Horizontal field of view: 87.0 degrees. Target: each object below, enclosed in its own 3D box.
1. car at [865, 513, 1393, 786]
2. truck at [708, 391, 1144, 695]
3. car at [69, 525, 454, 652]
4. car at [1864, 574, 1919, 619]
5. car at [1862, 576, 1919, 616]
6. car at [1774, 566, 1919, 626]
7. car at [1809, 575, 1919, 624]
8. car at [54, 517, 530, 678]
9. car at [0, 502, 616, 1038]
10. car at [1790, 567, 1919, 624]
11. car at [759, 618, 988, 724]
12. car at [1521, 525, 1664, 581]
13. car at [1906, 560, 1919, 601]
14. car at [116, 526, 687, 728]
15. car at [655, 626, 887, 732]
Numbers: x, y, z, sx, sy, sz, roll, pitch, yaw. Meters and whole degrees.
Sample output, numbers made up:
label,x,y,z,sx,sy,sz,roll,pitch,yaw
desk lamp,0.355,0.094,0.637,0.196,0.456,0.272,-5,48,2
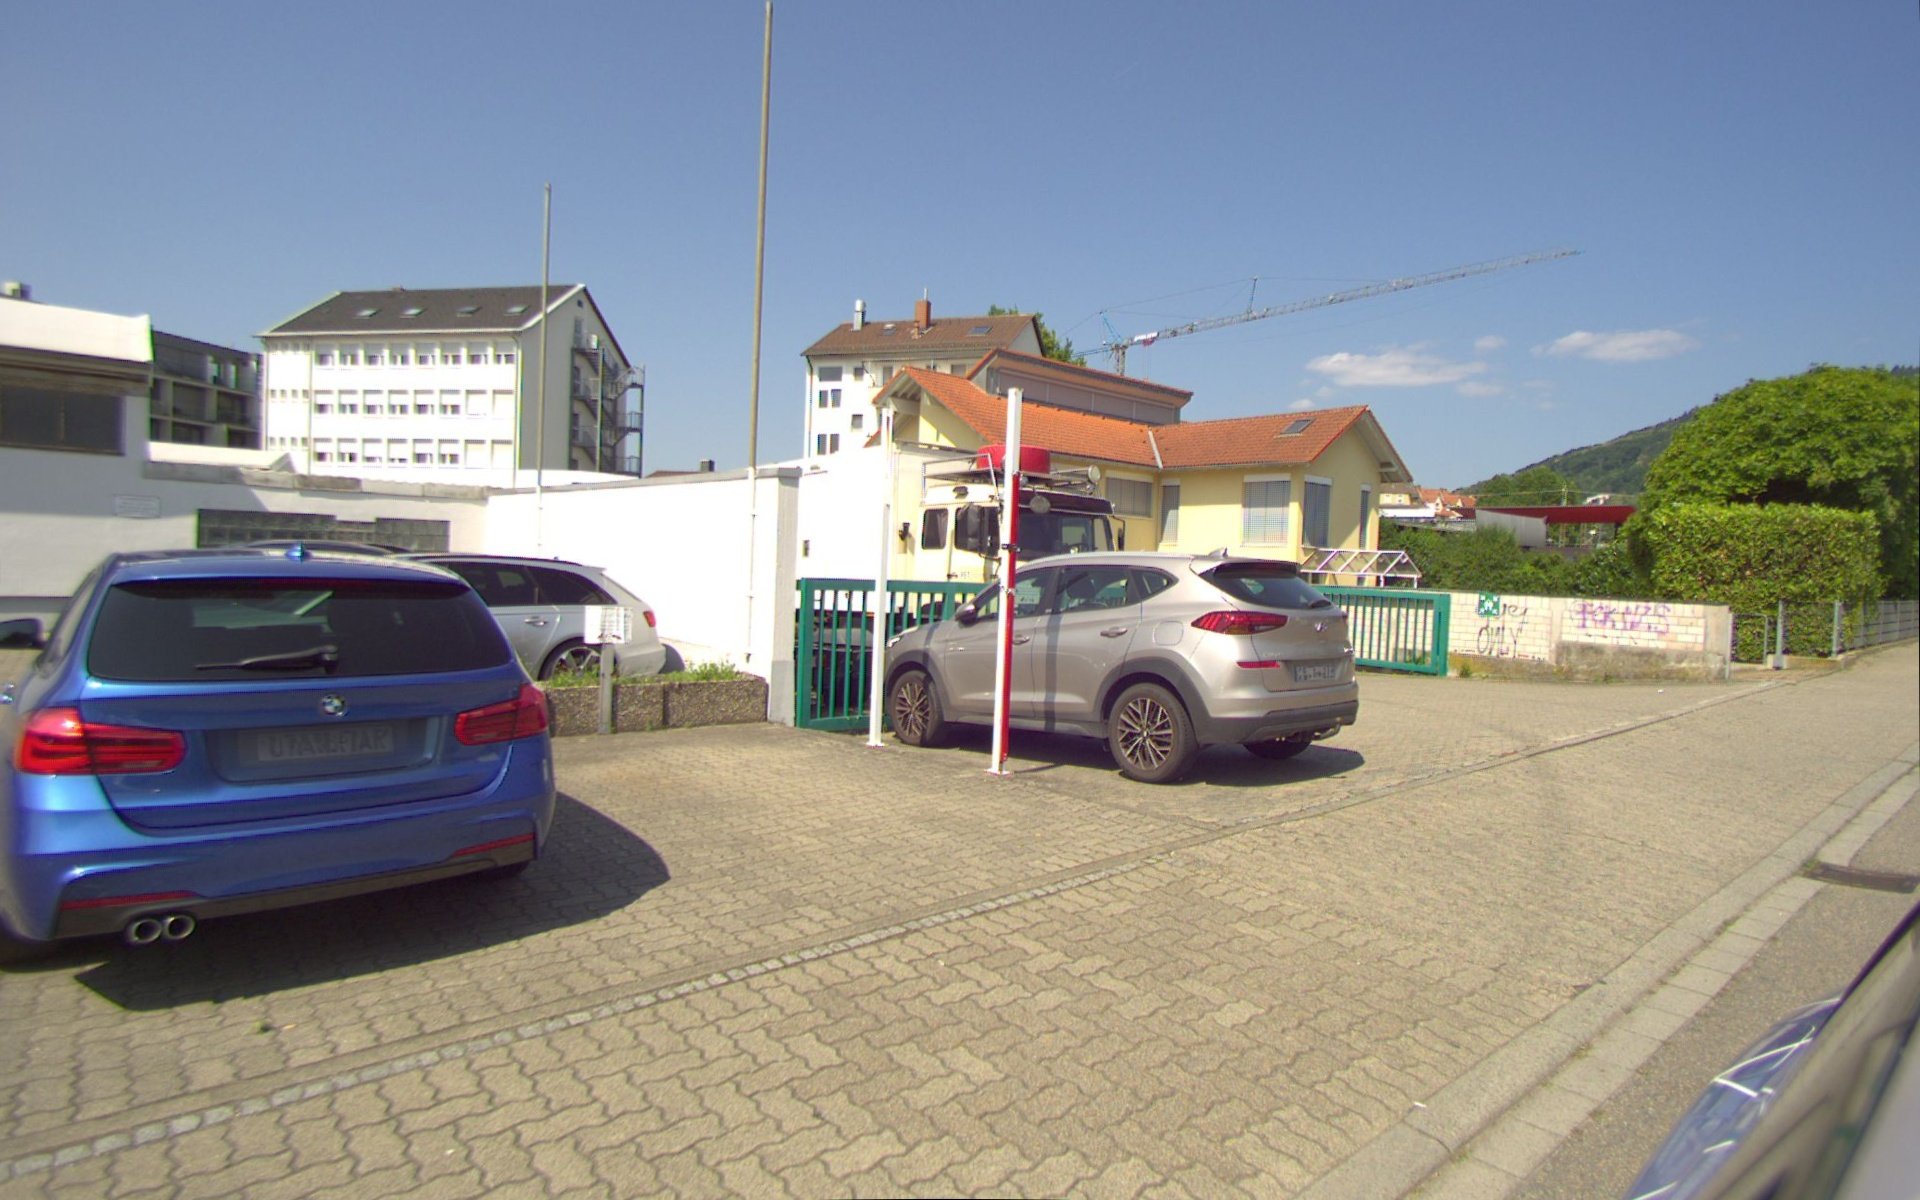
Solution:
label,x,y,z,sx,sy,sz,roll,pitch,yaw
car,1.140,0.342,8.488,1.736,1.703,4.207,-2,-1,-40
truck,-0.968,-0.638,15.268,2.482,3.466,7.533,-1,0,-39
car,-9.056,-0.211,13.413,3.952,1.409,1.893,-1,4,-37
car,35.974,-0.119,37.250,1.729,1.644,3.809,0,2,-41
car,33.905,-0.104,35.223,1.532,1.351,3.556,-1,3,-41
car,27.769,-0.165,30.795,1.812,1.673,4.410,-2,4,-42
car,31.612,-0.028,34.031,1.864,1.515,4.412,-1,4,-40
car,-7.189,-0.107,11.243,4.110,1.458,1.892,-1,4,-37
car,-3.426,0.374,4.911,1.859,1.459,4.362,0,2,-40
car,29.618,-0.149,32.394,1.865,1.545,4.411,-2,6,-42
car,-1.097,0.751,11.839,1.264,1.016,2.902,-1,0,-39
car,32.522,-2.477,52.336,5.963,2.711,2.239,3,4,28
car,44.977,-0.844,44.978,4.205,1.803,1.856,0,3,-4
car,-5.019,0.108,9.514,4.381,1.459,1.888,-1,4,-44
car,-2.152,0.783,11.084,1.264,0.926,2.902,-1,0,-39
